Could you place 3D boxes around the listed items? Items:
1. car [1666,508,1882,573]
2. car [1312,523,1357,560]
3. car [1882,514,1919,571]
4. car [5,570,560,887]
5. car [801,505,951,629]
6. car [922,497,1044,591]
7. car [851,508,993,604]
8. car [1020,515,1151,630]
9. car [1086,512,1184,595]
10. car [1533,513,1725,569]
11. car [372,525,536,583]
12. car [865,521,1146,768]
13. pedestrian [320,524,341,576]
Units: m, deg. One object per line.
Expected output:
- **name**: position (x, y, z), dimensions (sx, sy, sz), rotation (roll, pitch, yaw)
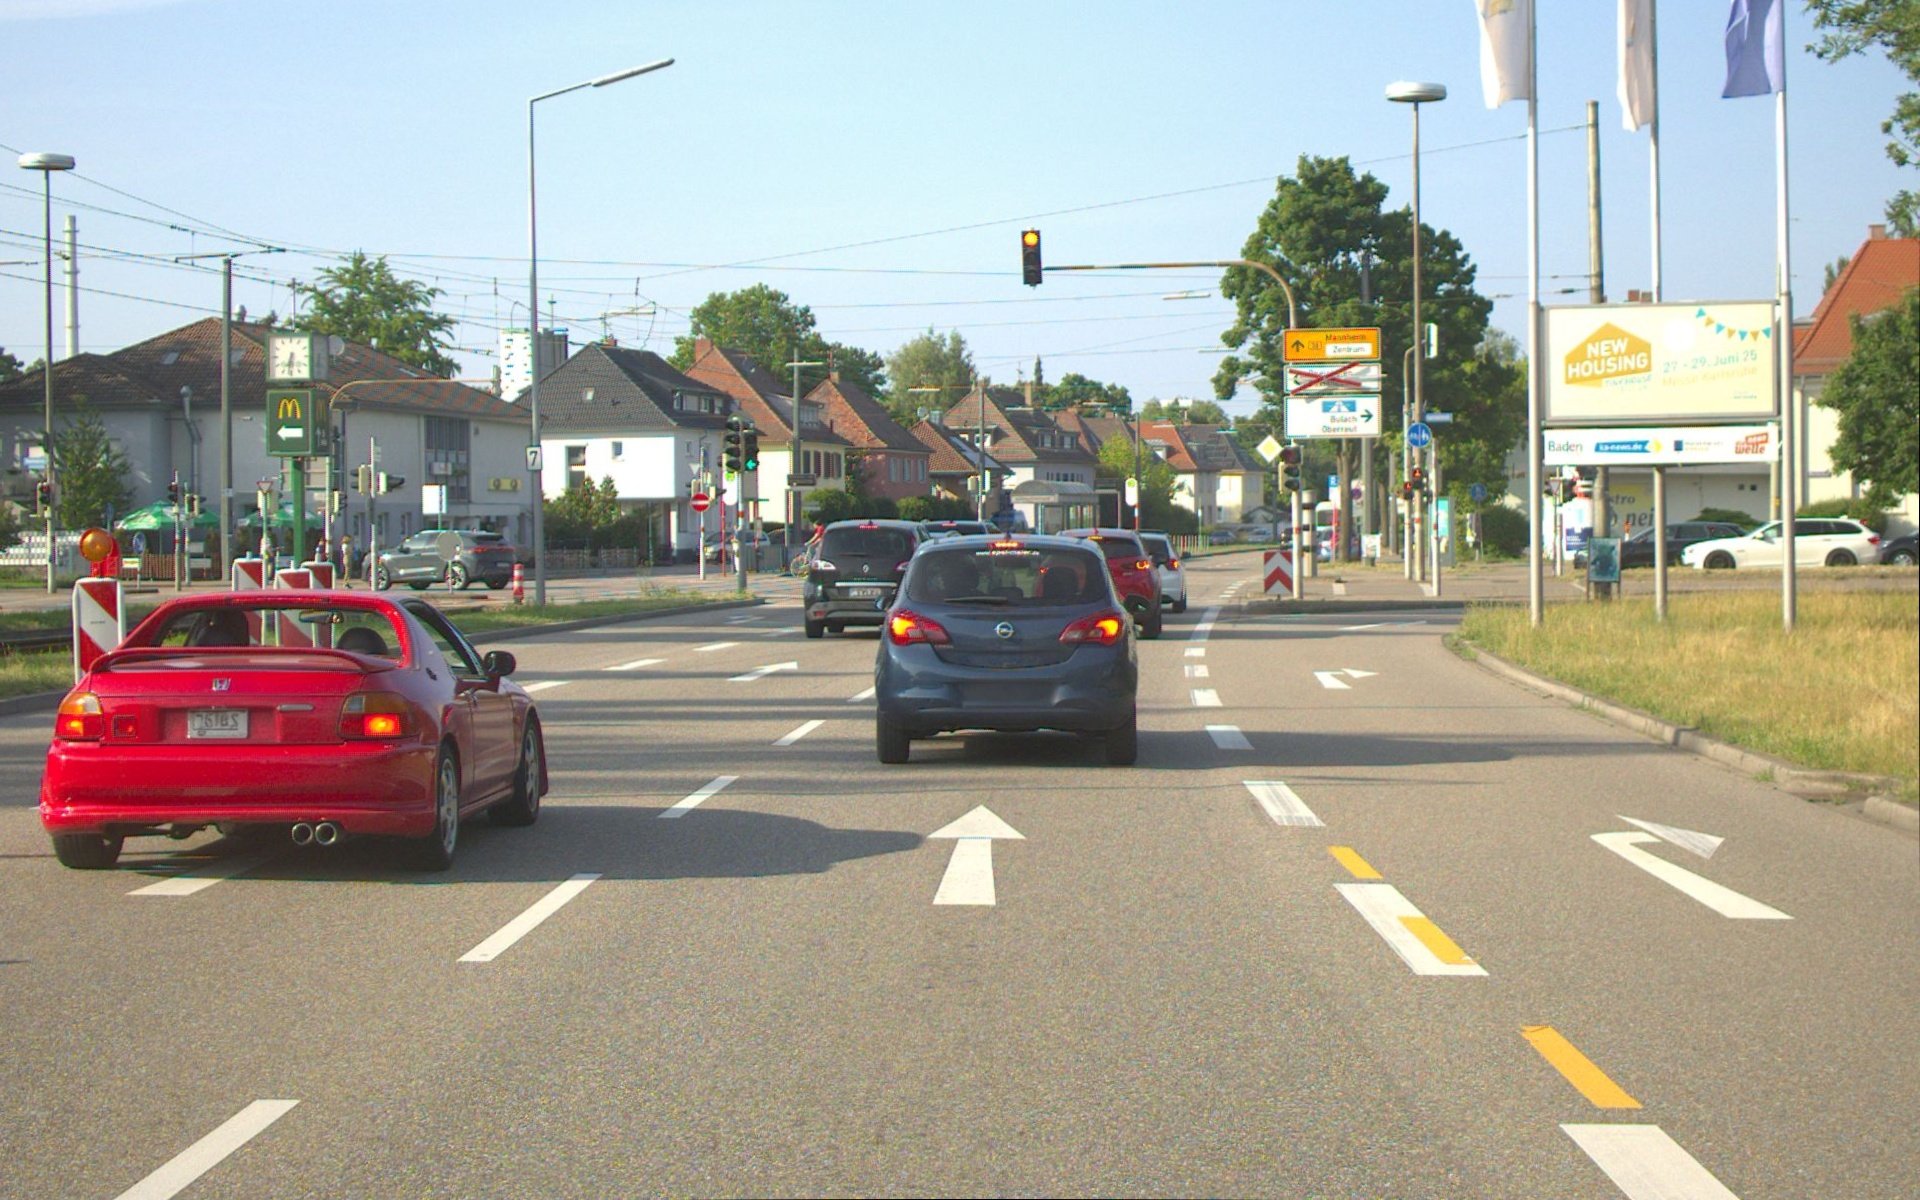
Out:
- **car**: position (20.327, -1.491, 85.991), dimensions (5.096, 1.557, 1.839), rotation (0, 1, 8)
- **car**: position (14.732, -2.293, 135.185), dimensions (1.675, 1.393, 3.999), rotation (1, 1, 7)
- **car**: position (25.986, -1.503, 88.786), dimensions (3.988, 1.448, 1.715), rotation (0, 1, 8)
- **car**: position (-3.012, 0.511, 16.058), dimensions (1.731, 1.202, 3.847), rotation (1, 1, 1)
- **car**: position (-1.132, -0.488, 48.248), dimensions (1.764, 1.665, 4.084), rotation (0, 1, 4)
- **car**: position (0.459, -1.048, 63.009), dimensions (1.507, 1.645, 4.742), rotation (-1, 1, 9)
- **car**: position (-0.576, -0.742, 55.914), dimensions (1.700, 1.503, 4.552), rotation (0, 1, 7)
- **car**: position (1.817, -0.414, 48.812), dimensions (1.706, 1.546, 3.977), rotation (-1, 1, 4)
- **car**: position (3.195, -0.857, 62.175), dimensions (1.656, 1.438, 4.014), rotation (-1, 1, 4)
- **car**: position (17.499, -1.550, 90.036), dimensions (4.825, 1.406, 1.715), rotation (0, 1, 8)
- **car**: position (-13.504, -1.221, 91.721), dimensions (3.994, 1.481, 1.996), rotation (0, 2, 33)
- **car**: position (0.280, 0.229, 23.503), dimensions (1.741, 1.500, 4.223), rotation (0, 2, 0)
- **pedestrian**: position (-19.492, -1.556, 106.518), dimensions (0.512, 1.593, 0.539), rotation (0, 1, 2)
